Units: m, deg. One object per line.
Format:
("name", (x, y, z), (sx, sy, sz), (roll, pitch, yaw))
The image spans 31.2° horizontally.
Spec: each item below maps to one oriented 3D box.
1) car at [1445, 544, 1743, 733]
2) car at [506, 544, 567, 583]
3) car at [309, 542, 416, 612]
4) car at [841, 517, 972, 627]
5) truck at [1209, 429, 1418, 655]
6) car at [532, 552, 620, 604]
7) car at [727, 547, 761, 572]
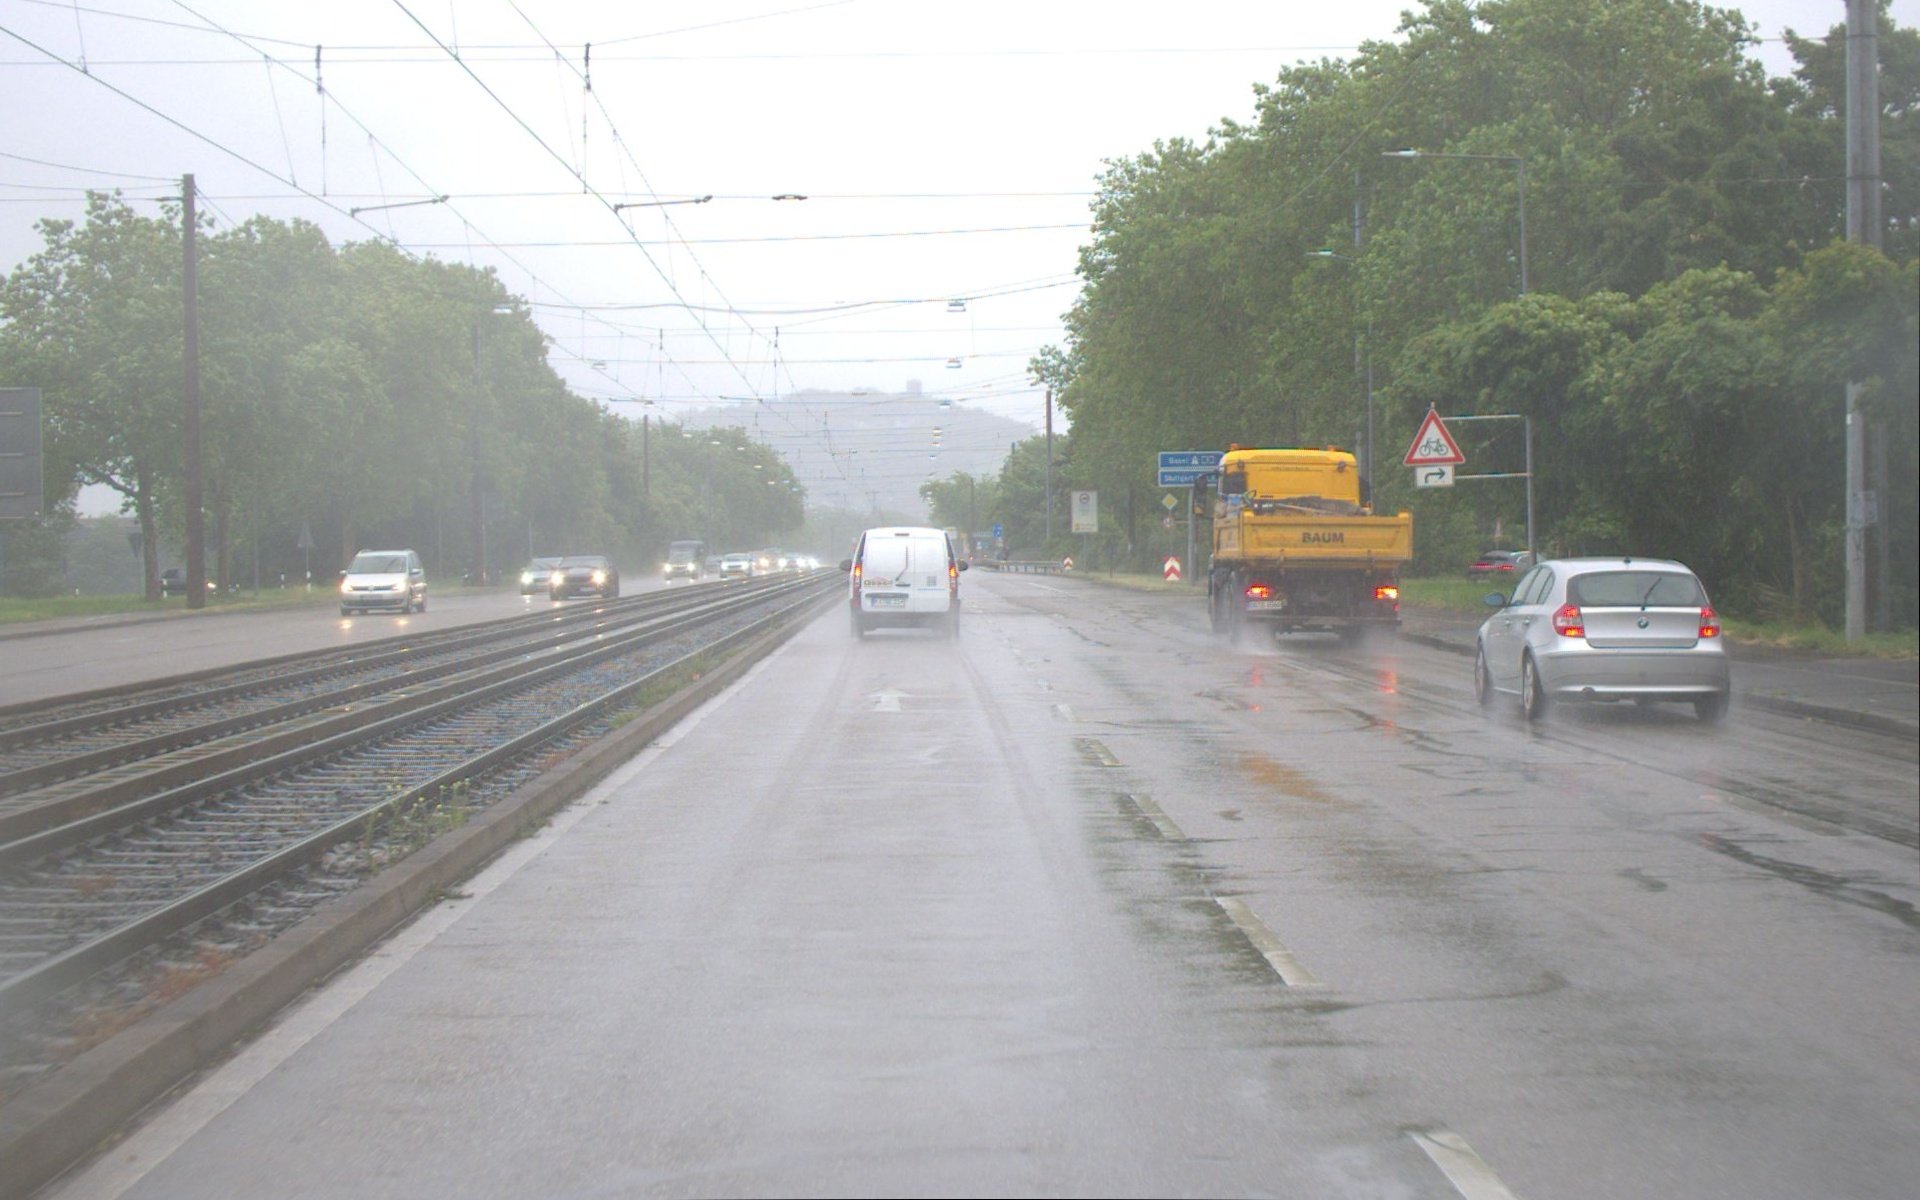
("car", (5.639, 0.288, 31.133), (1.626, 1.498, 4.607), (1, 2, -3))
("car", (-16.140, -1.405, 131.196), (1.758, 1.358, 5.072), (1, 2, -1))
("car", (-14.675, -0.590, 84.675), (1.842, 1.568, 5.067), (1, 2, -1))
("car", (-0.830, -0.480, 55.642), (1.989, 1.678, 3.740), (1, 2, 1))
("truck", (5.387, -0.942, 53.415), (2.556, 3.246, 6.933), (1, 2, 1))
("car", (-12.265, -0.718, 110.146), (1.994, 1.459, 5.251), (-2, 2, 2))
("car", (-12.702, -2.402, 202.527), (1.741, 1.349, 4.546), (1, 2, 0))
